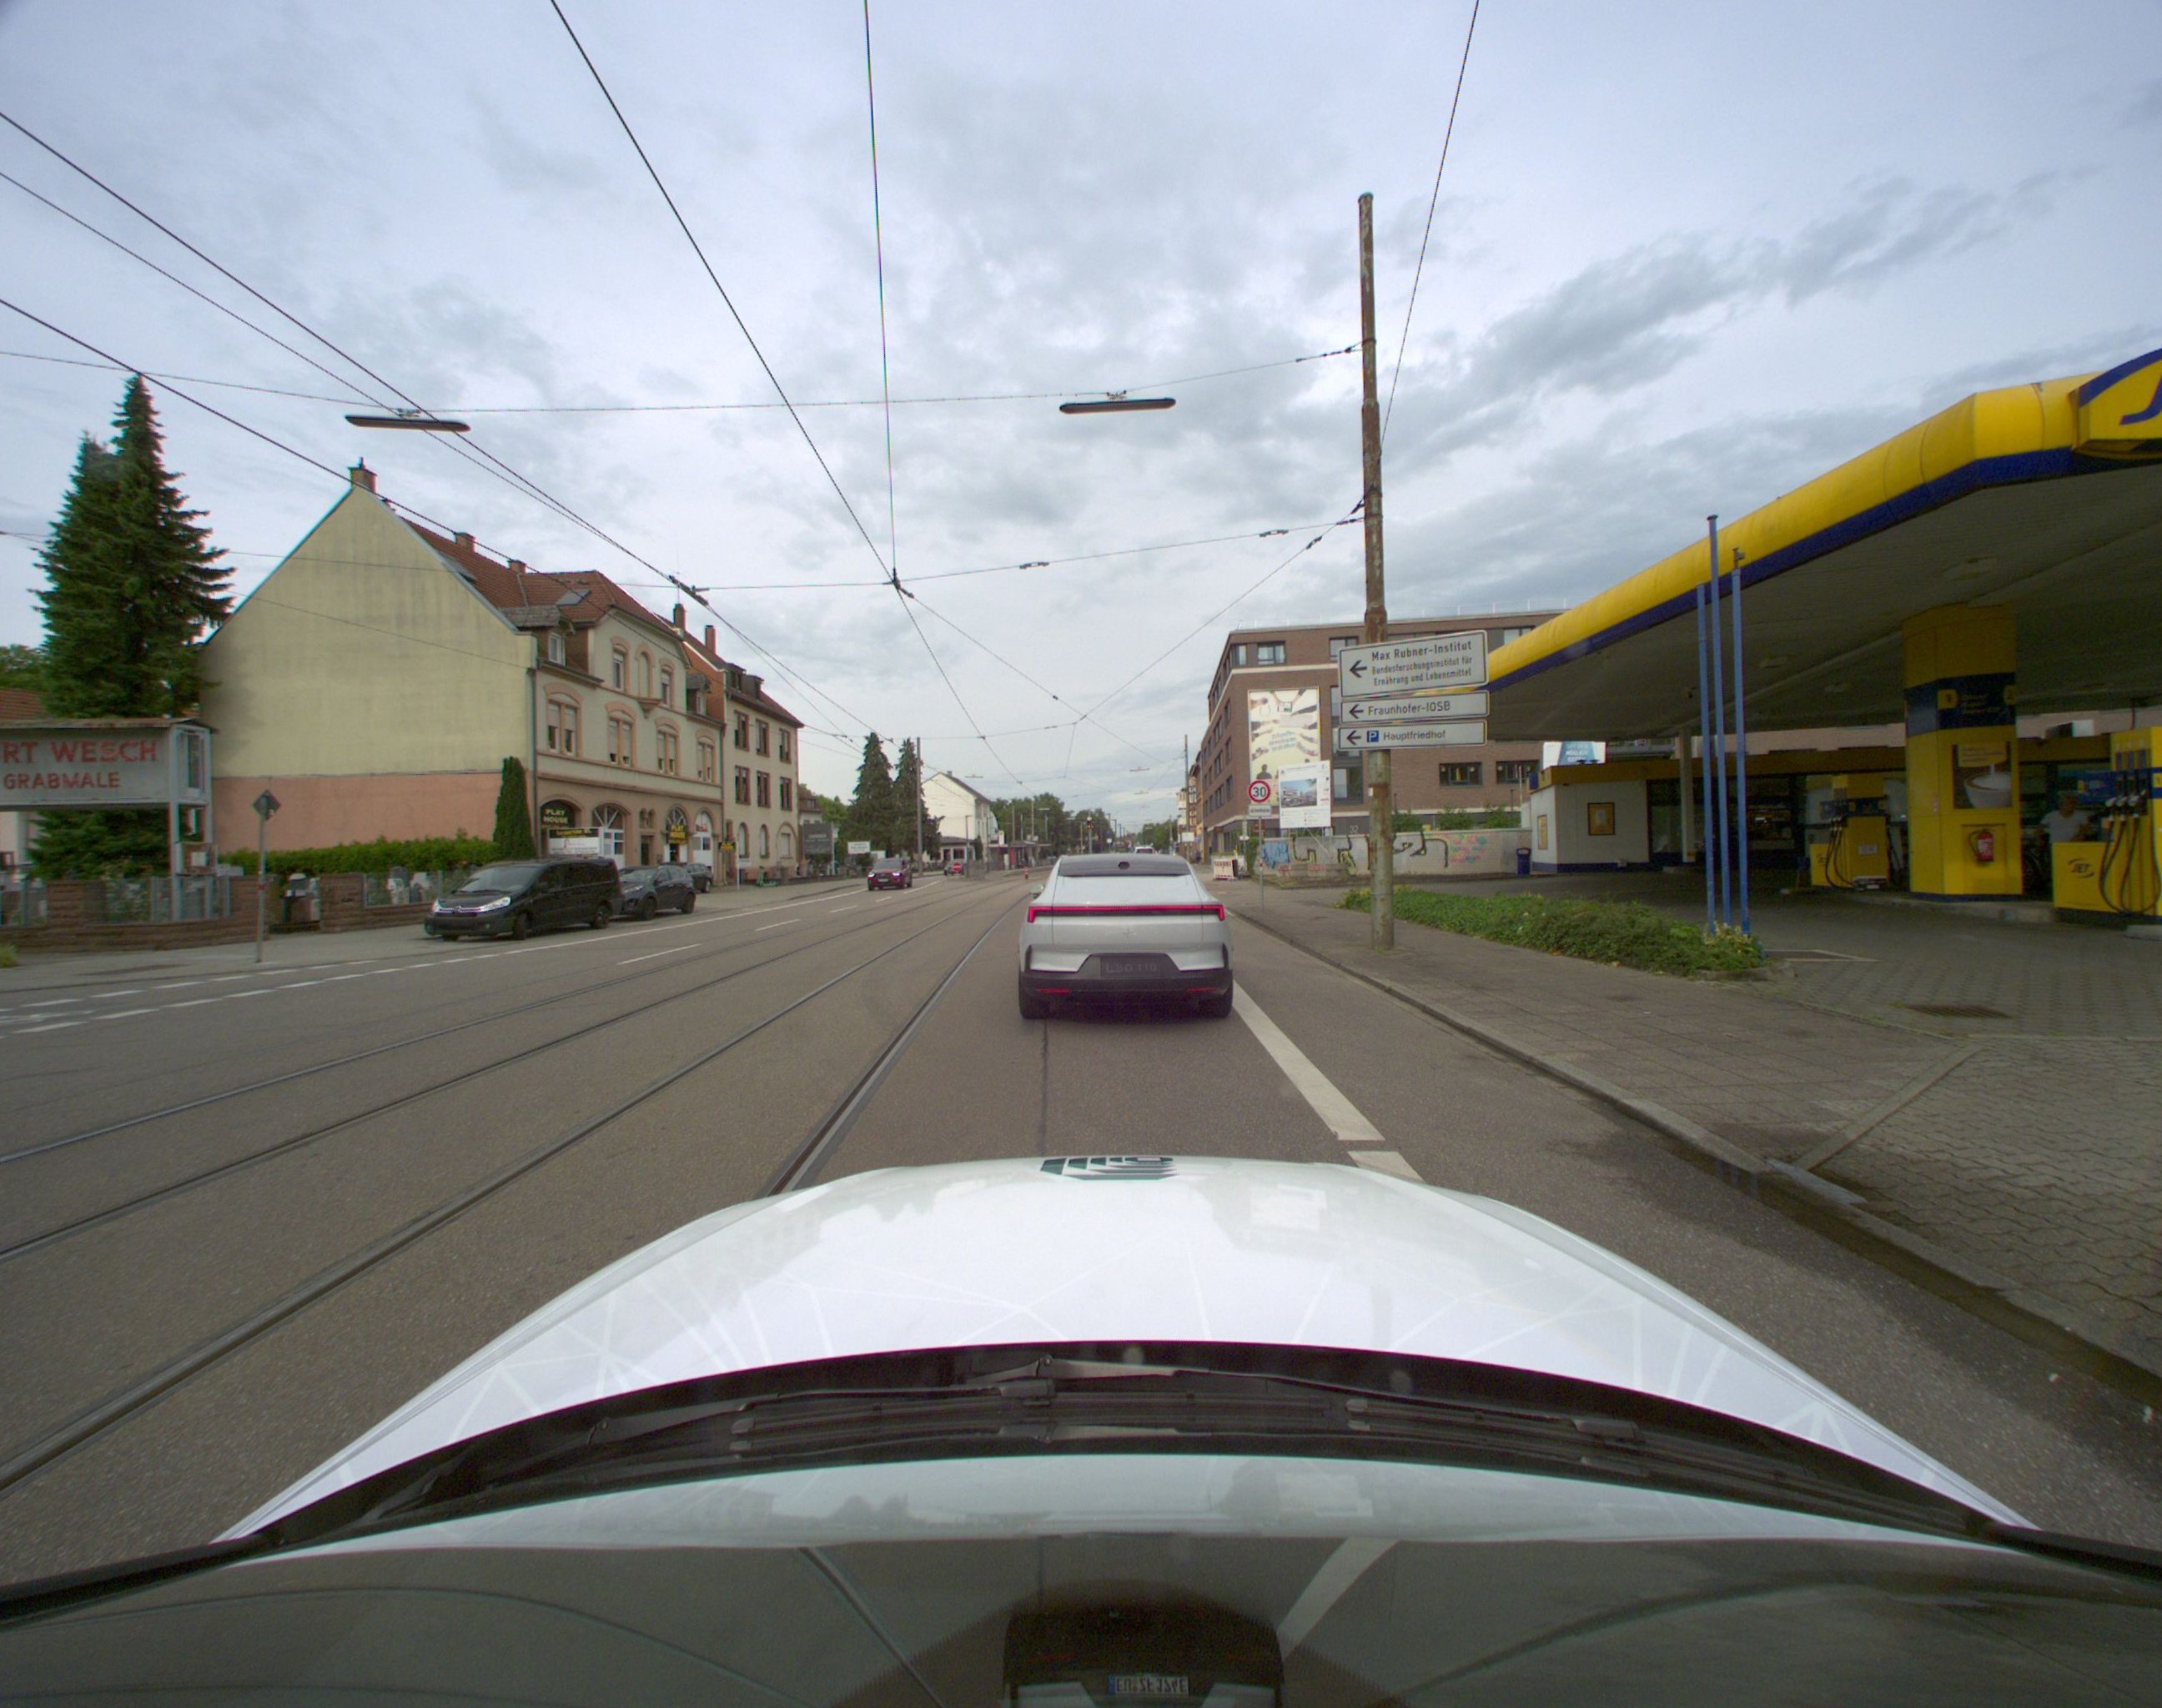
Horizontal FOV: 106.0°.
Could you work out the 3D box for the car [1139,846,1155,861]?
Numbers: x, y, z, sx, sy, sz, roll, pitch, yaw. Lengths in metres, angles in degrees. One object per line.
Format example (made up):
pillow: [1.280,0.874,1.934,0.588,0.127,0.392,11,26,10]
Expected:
car: [9.136,-0.119,112.676,1.986,2.014,4.002,-1,0,2]

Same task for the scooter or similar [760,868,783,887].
scooter or similar: [-17.926,1.347,47.161,1.181,1.102,0.523,0,-1,-29]

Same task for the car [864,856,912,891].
car: [-10.232,0.987,43.397,1.839,1.724,4.399,-2,0,-5]

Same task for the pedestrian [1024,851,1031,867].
pedestrian: [-5.758,0.551,87.834,0.612,1.664,0.699,-1,-1,7]

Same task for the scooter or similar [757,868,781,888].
scooter or similar: [-17.756,1.339,46.340,1.181,1.102,0.523,0,-1,-29]

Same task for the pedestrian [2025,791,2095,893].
pedestrian: [17.604,-0.202,14.658,0.619,1.787,0.712,-1,-1,36]

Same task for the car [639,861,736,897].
car: [-17.742,1.078,37.053,1.987,1.493,4.902,-1,0,0]

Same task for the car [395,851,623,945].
car: [-13.758,0.976,20.116,1.981,2.014,5.183,0,0,-1]

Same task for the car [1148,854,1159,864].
car: [15.605,1.090,175.291,1.986,2.014,4.001,-1,0,2]

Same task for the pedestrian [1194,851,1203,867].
pedestrian: [14.098,0.637,97.672,0.954,1.850,0.978,-4,0,11]

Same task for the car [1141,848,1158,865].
car: [8.620,0.303,102.607,1.986,2.014,4.002,-1,0,2]

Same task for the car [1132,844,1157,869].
car: [6.178,0.246,79.928,2.217,2.402,5.125,-1,0,2]

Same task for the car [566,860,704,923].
car: [-14.140,1.117,26.196,2.032,1.749,4.531,0,0,-2]

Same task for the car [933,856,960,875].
car: [-11.954,1.012,72.459,1.786,1.530,4.137,-3,0,-3]

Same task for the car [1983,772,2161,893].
car: [19.274,-0.386,14.917,1.803,1.988,4.275,-3,-1,19]

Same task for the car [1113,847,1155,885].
car: [2.750,0.597,42.889,1.986,1.816,4.002,-2,0,2]

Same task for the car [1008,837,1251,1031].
car: [0.424,0.678,8.716,1.992,1.581,4.000,0,-1,1]

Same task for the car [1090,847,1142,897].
car: [1.330,0.633,29.682,1.673,1.687,3.829,-1,0,5]
